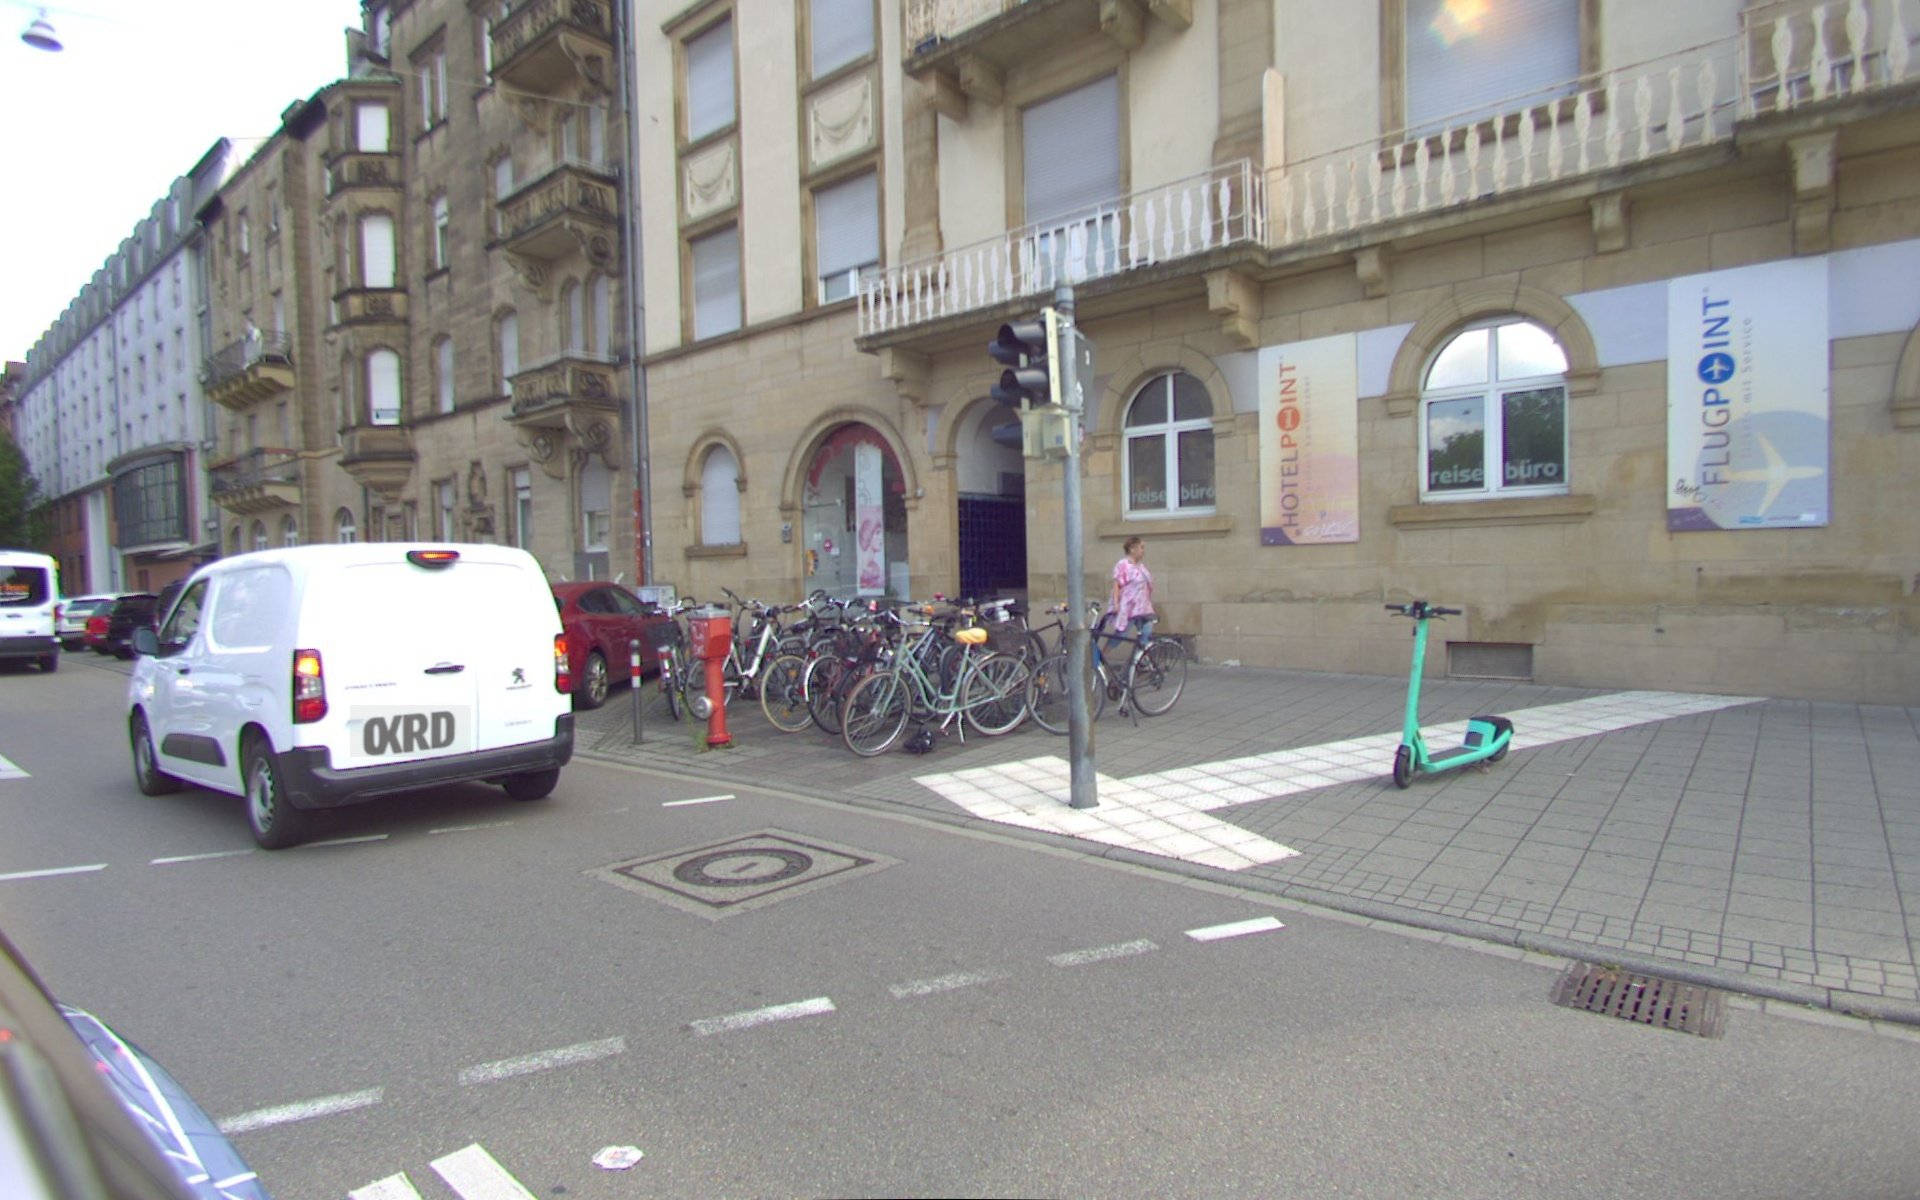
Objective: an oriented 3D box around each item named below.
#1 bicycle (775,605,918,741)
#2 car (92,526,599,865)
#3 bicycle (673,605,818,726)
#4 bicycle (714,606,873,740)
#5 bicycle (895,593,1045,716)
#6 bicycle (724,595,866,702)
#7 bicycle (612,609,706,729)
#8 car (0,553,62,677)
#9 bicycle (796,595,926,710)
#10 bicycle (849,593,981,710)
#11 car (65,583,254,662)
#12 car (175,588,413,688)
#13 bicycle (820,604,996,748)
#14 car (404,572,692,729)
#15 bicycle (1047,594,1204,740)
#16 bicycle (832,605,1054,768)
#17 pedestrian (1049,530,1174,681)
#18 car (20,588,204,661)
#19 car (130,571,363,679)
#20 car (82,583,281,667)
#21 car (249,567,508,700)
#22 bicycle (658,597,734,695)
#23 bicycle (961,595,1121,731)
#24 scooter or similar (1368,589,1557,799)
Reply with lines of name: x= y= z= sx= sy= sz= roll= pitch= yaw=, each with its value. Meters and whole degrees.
bicycle: x=-1.013 y=0.633 z=9.310 sx=0.417 sy=1.059 sz=1.355 roll=-1 pitch=4 yaw=39
car: x=-4.651 y=0.536 z=7.391 sx=4.278 sy=1.789 sz=1.794 roll=-2 pitch=0 yaw=39
bicycle: x=-2.183 y=0.639 z=10.469 sx=0.462 sy=1.059 sz=1.466 roll=-1 pitch=3 yaw=38
bicycle: x=-1.538 y=0.641 z=9.536 sx=0.462 sy=1.059 sz=1.464 roll=-1 pitch=3 yaw=41
bicycle: x=0.128 y=0.511 z=10.247 sx=1.558 sy=1.059 sz=0.481 roll=-6 pitch=3 yaw=-42
bicycle: x=-1.893 y=0.526 z=11.808 sx=0.557 sy=1.059 sz=1.611 roll=-1 pitch=3 yaw=40
bicycle: x=-3.175 y=0.685 z=10.813 sx=0.549 sy=1.059 sz=1.815 roll=-3 pitch=3 yaw=-5
car: x=-21.346 y=0.375 z=21.892 sx=5.940 sy=2.463 sz=2.055 roll=-2 pitch=-1 yaw=40
bicycle: x=-1.044 y=0.532 z=10.947 sx=0.462 sy=1.059 sz=1.466 roll=-1 pitch=3 yaw=38
bicycle: x=-0.447 y=0.510 z=10.721 sx=0.462 sy=1.059 sz=1.464 roll=-1 pitch=3 yaw=42
car: x=-21.152 y=0.531 z=26.981 sx=1.708 sy=1.596 sz=3.954 roll=-4 pitch=5 yaw=1
car: x=-12.500 y=0.631 z=19.330 sx=1.709 sy=1.439 sz=3.952 roll=-4 pitch=3 yaw=3
bicycle: x=-0.434 y=0.628 z=8.999 sx=1.558 sy=1.059 sz=0.481 roll=-6 pitch=3 yaw=-42
car: x=-4.942 y=0.489 z=12.832 sx=1.788 sy=1.467 sz=3.997 roll=-3 pitch=3 yaw=3
bicycle: x=1.441 y=0.531 z=8.677 sx=1.421 sy=1.059 sz=0.481 roll=-5 pitch=3 yaw=-40
bicycle: x=-0.109 y=0.640 z=8.097 sx=1.708 sy=1.059 sz=0.532 roll=-5 pitch=3 yaw=-33
pedestrian: x=1.754 y=0.042 z=11.682 sx=0.996 sy=1.606 sz=0.932 roll=-1 pitch=5 yaw=42
car: x=-23.936 y=0.618 z=28.775 sx=1.708 sy=1.596 sz=3.954 roll=-4 pitch=4 yaw=2
car: x=-14.734 y=0.434 z=21.210 sx=1.711 sy=1.881 sz=3.947 roll=-3 pitch=3 yaw=7
car: x=-19.104 y=0.550 z=25.092 sx=1.708 sy=1.596 sz=3.954 roll=-3 pitch=4 yaw=2
car: x=-9.304 y=0.426 z=16.632 sx=1.778 sy=1.701 sz=3.954 roll=-4 pitch=3 yaw=2
bicycle: x=-3.372 y=0.551 z=13.067 sx=0.549 sy=1.059 sz=1.907 roll=-3 pitch=3 yaw=-4
bicycle: x=0.785 y=0.541 z=9.428 sx=1.589 sy=1.059 sz=0.481 roll=-6 pitch=3 yaw=-42
scooter or similar: x=3.222 y=0.550 z=6.463 sx=1.232 sy=1.154 sz=0.482 roll=-5 pitch=3 yaw=-31
